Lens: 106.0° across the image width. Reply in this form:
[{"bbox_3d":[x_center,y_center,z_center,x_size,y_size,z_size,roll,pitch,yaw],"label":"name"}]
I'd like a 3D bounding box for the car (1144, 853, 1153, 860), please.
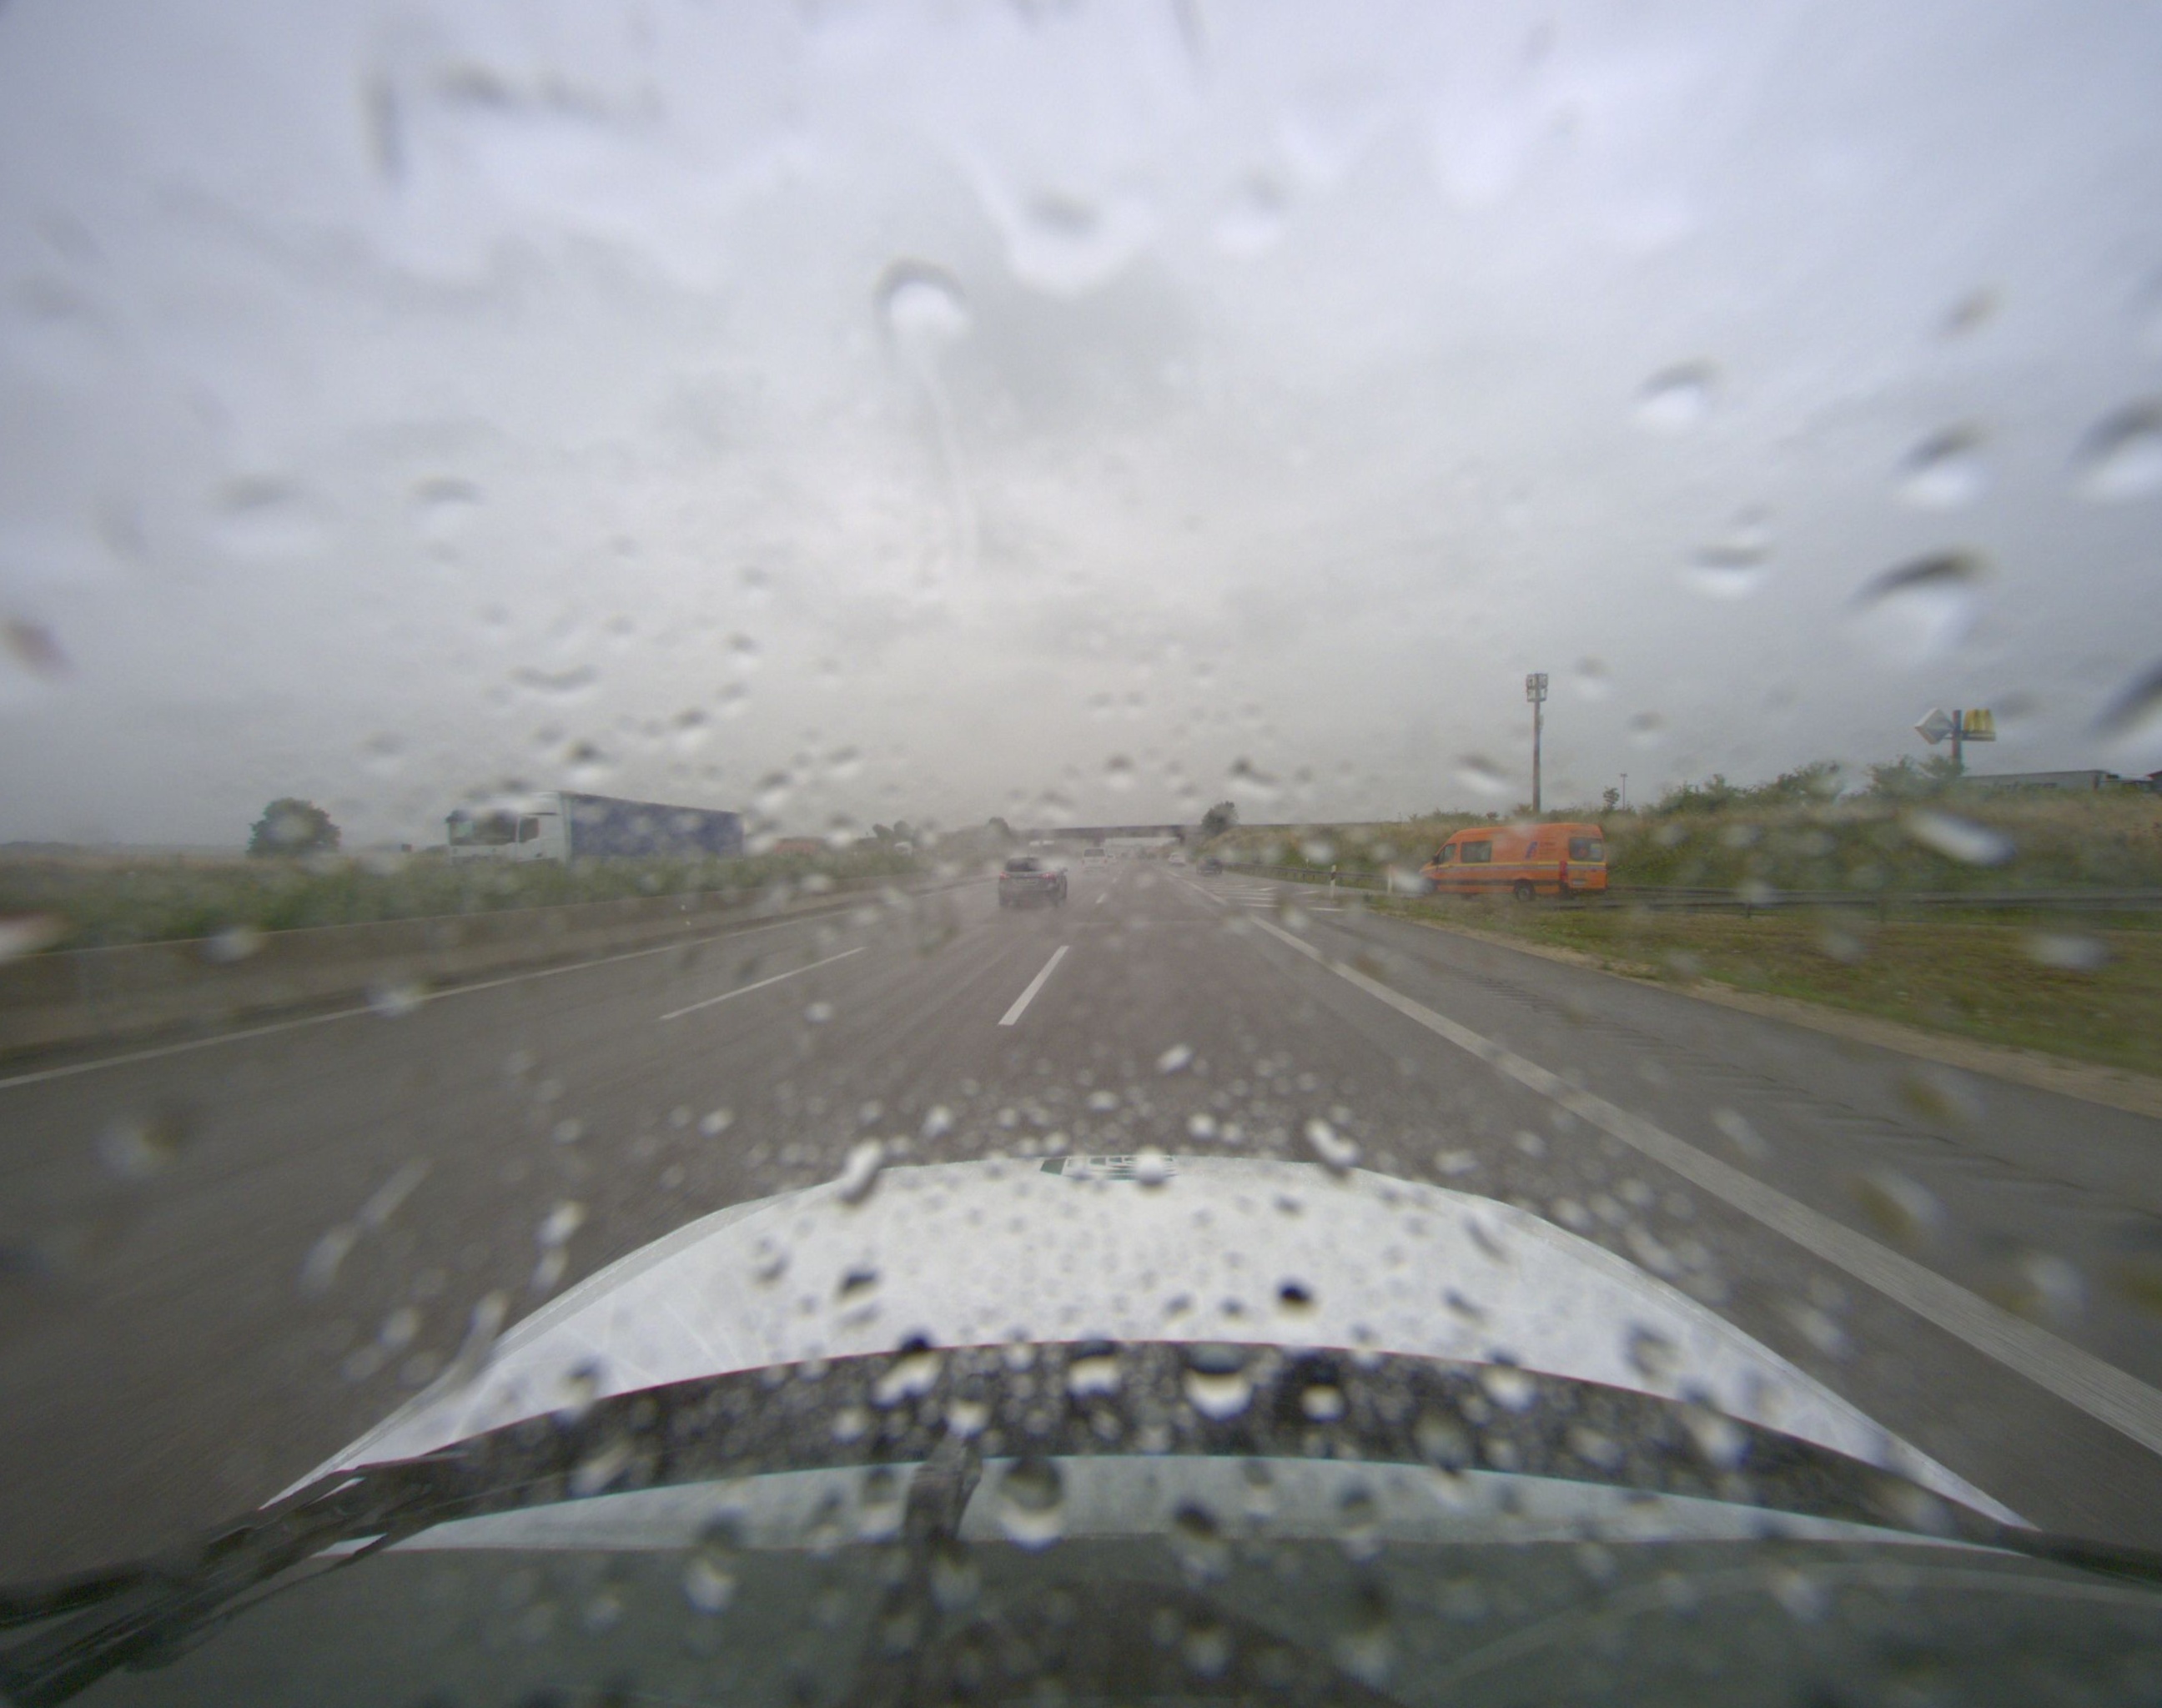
[{"bbox_3d":[14.792,0.462,178.722,1.985,1.464,4.004,-2,0,4],"label":"car"}]

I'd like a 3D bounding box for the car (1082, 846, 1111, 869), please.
[{"bbox_3d":[1.163,0.262,59.338,1.889,1.585,4.004,-1,-1,4],"label":"car"}]

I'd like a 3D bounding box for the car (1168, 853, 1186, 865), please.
[{"bbox_3d":[10.691,0.544,90.812,1.983,1.266,4.006,-1,-1,6],"label":"car"}]

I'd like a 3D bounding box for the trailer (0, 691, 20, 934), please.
[{"bbox_3d":[-17.269,-0.540,7.094,3.242,3.456,9.453,-2,0,4],"label":"trailer"}]

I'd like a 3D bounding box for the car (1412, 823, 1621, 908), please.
[{"bbox_3d":[14.921,0.339,28.584,2.068,2.615,6.839,1,0,-20],"label":"car"}]

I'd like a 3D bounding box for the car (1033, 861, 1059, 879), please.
[{"bbox_3d":[-2.825,1.279,66.644,1.605,1.354,4.005,-1,-1,4],"label":"car"}]

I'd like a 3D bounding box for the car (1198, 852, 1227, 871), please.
[{"bbox_3d":[10.255,0.557,63.773,1.725,1.421,3.659,-1,0,1],"label":"car"}]

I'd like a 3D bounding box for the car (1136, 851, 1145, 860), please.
[{"bbox_3d":[14.966,0.419,203.980,1.986,2.101,4.001,-2,0,1],"label":"car"}]

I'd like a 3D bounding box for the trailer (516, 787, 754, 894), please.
[{"bbox_3d":[-19.355,-0.506,37.105,2.425,3.939,13.508,-2,0,4],"label":"trailer"}]

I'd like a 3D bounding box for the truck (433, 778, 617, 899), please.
[{"bbox_3d":[-19.897,-0.513,29.616,2.475,3.926,5.616,-2,0,4],"label":"truck"}]

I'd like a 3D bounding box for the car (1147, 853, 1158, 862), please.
[{"bbox_3d":[13.075,0.656,148.760,1.794,1.508,4.001,-2,0,1],"label":"car"}]

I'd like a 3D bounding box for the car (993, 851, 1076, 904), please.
[{"bbox_3d":[-1.351,0.686,25.889,1.837,1.513,4.765,-1,0,6],"label":"car"}]

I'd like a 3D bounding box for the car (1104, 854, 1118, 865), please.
[{"bbox_3d":[3.490,0.606,94.226,1.461,1.208,2.995,-1,0,5],"label":"car"}]
